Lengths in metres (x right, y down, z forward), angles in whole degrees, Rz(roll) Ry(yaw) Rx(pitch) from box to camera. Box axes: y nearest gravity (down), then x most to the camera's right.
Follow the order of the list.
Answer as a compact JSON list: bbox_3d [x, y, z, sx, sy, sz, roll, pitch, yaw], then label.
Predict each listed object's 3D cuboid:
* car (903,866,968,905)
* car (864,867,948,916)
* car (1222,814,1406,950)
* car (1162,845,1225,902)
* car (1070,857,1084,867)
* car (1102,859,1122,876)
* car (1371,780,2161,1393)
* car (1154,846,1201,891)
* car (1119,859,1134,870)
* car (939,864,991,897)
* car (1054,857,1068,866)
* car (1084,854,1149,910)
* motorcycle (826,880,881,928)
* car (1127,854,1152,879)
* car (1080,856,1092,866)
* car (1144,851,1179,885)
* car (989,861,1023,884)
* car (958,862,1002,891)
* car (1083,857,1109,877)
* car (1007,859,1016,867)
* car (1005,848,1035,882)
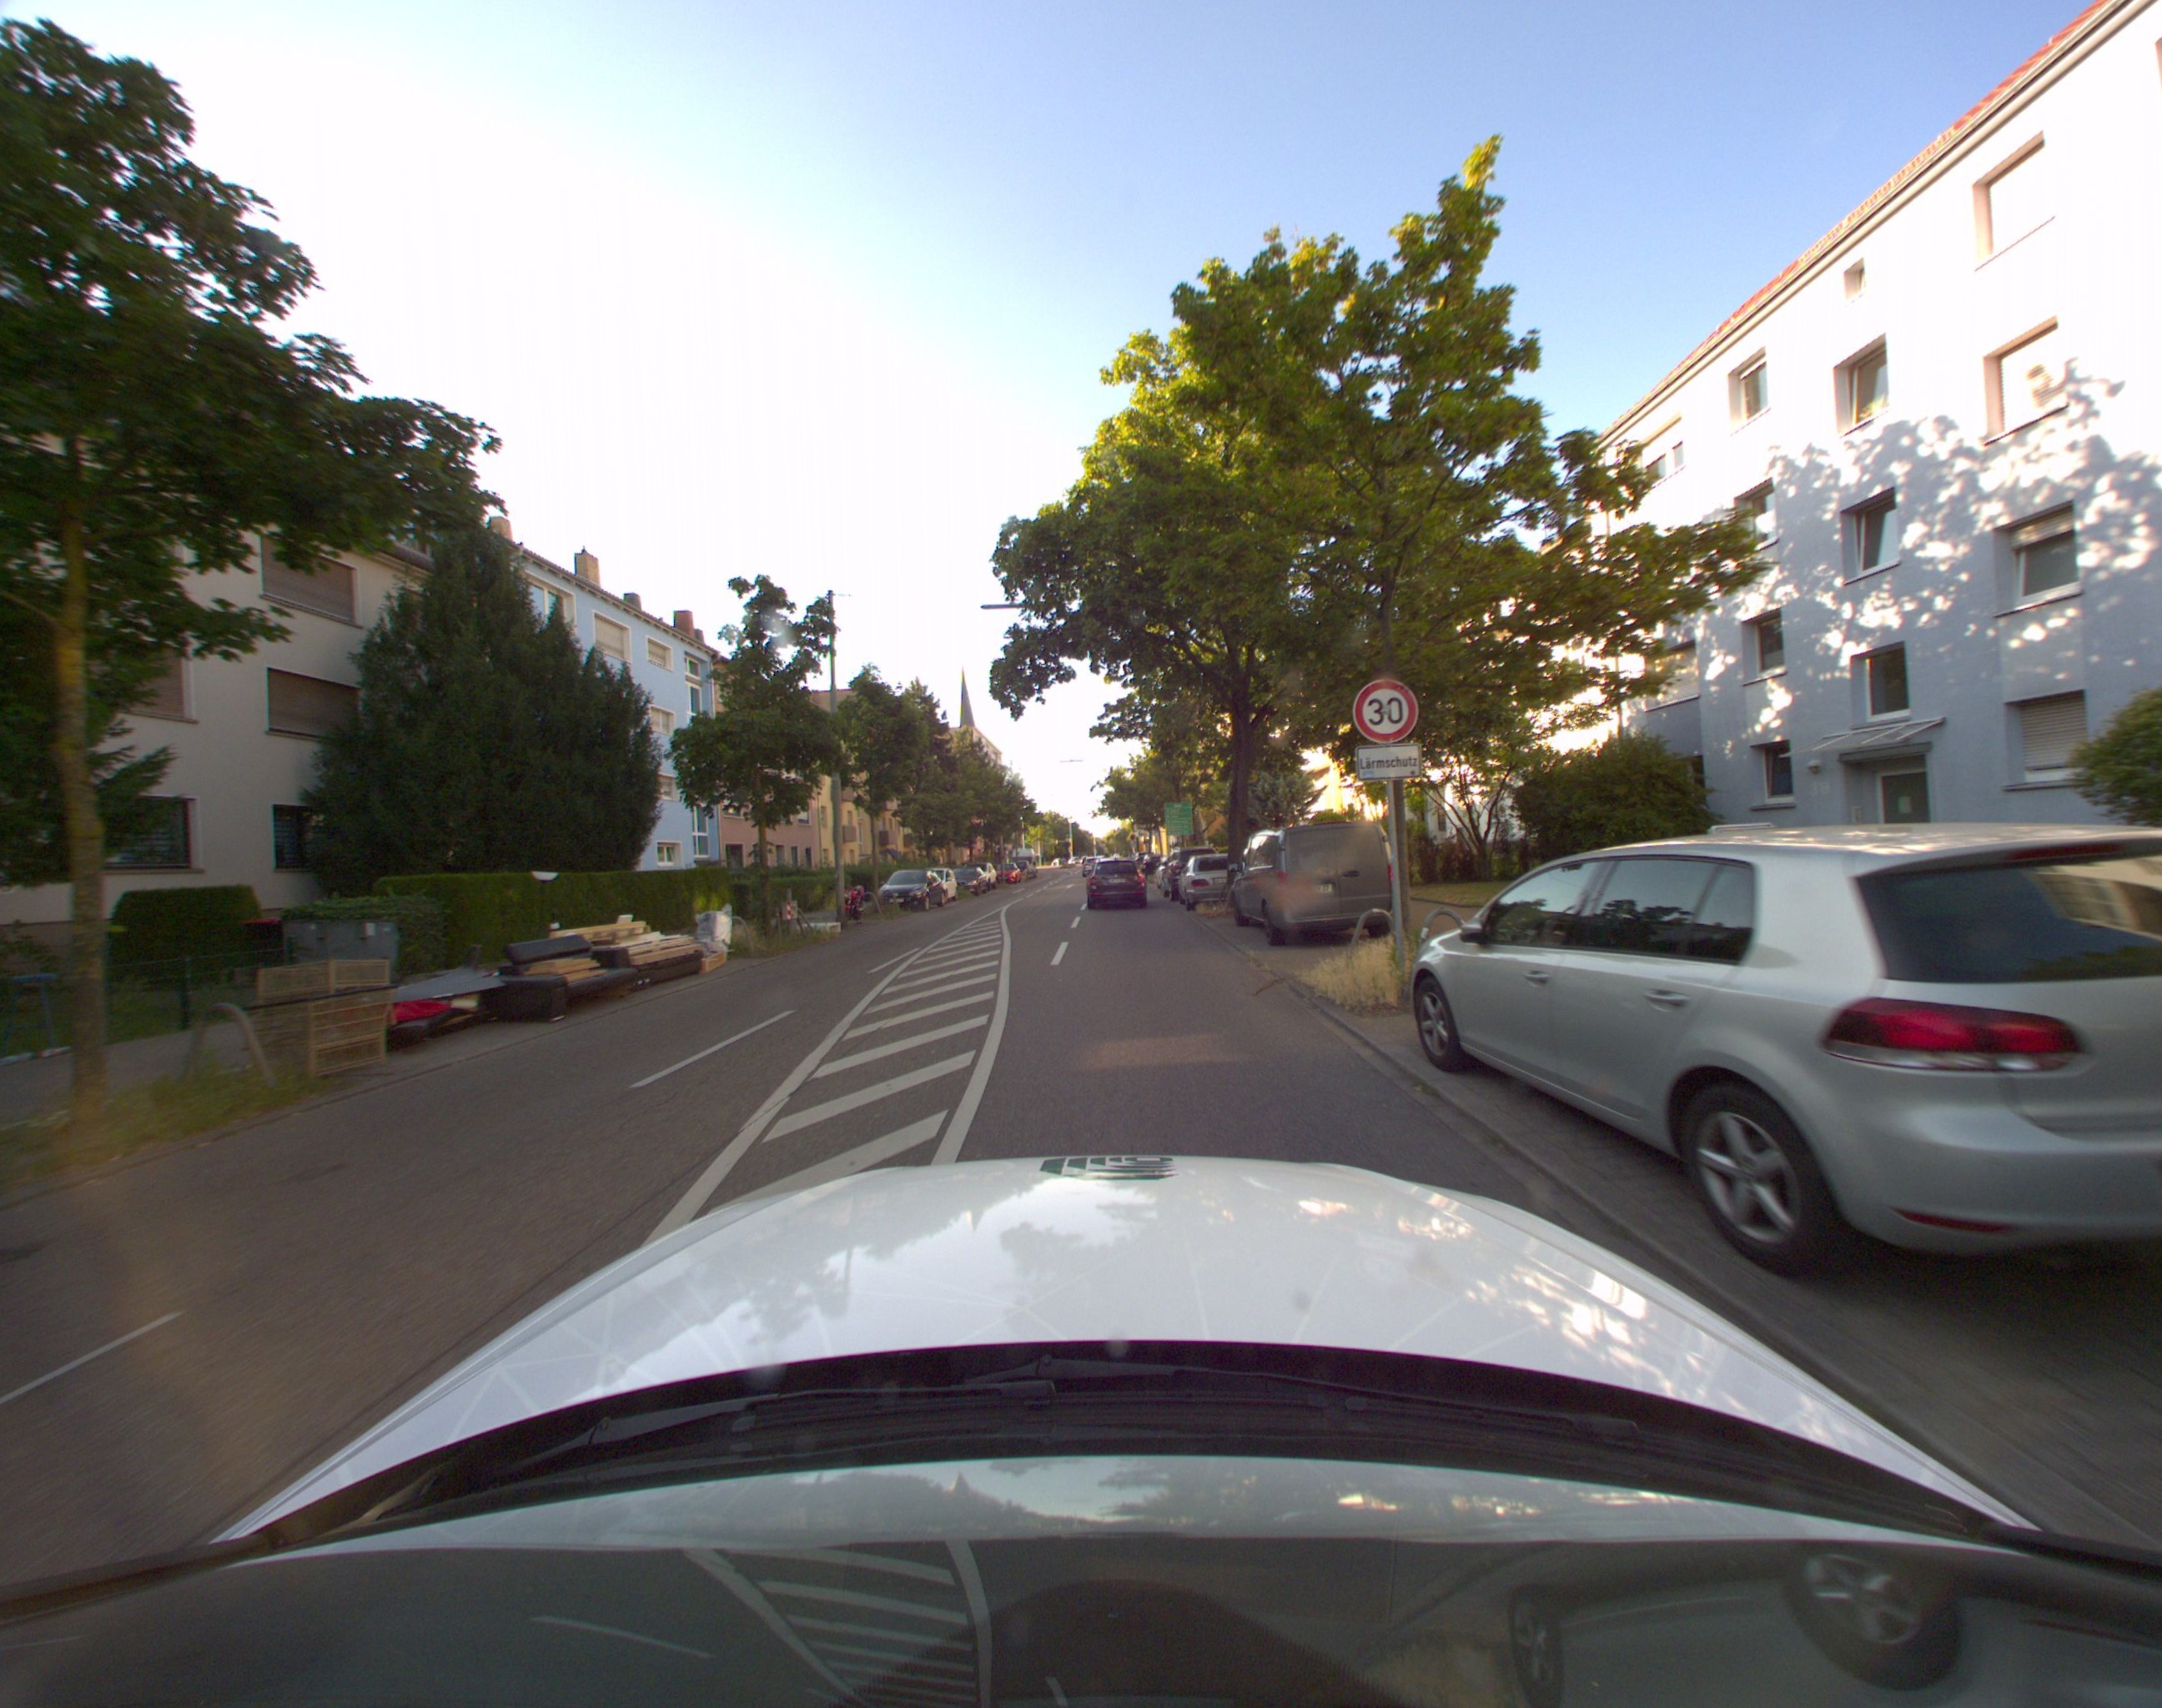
[{"bbox_3d":[-6.146,1.308,34.946,1.773,1.480,3.975,-2,0,4],"label":"car"},{"bbox_3d":[-6.106,1.272,28.891,1.773,1.480,4.037,-2,0,4],"label":"car"},{"bbox_3d":[3.852,0.410,14.593,1.908,1.860,5.638,-3,0,3],"label":"car"},{"bbox_3d":[3.684,0.600,27.166,1.747,1.715,4.004,-2,0,3],"label":"car"},{"bbox_3d":[-0.901,1.668,166.013,1.995,1.750,3.984,-3,0,-12],"label":"car"},{"bbox_3d":[3.416,1.456,89.334,1.986,1.750,4.002,-3,0,2],"label":"car"},{"bbox_3d":[3.087,0.601,4.165,1.748,1.557,4.104,-2,-1,0],"label":"car"},{"bbox_3d":[4.133,0.594,35.223,1.747,1.806,4.004,-2,0,3],"label":"car"},{"bbox_3d":[6.695,1.549,120.101,1.641,1.599,3.645,-3,0,-3],"label":"car"},{"bbox_3d":[-5.827,1.307,41.383,1.773,1.480,3.975,-2,0,4],"label":"car"},{"bbox_3d":[-4.398,1.660,177.693,1.998,1.750,3.978,-3,0,-16],"label":"car"},{"bbox_3d":[1.098,0.789,24.539,1.747,1.492,4.004,-2,0,3],"label":"car"},{"bbox_3d":[-6.360,1.368,22.903,0.736,1.204,2.144,-2,0,5],"label":"motorcycle"},{"bbox_3d":[4.512,0.967,63.411,1.747,1.806,4.002,-2,0,2],"label":"car"},{"bbox_3d":[0.917,1.335,157.101,1.989,1.750,3.995,-3,0,-3],"label":"car"},{"bbox_3d":[4.547,0.740,46.464,1.747,1.806,4.004,-2,0,3],"label":"car"},{"bbox_3d":[-5.256,1.278,57.551,1.773,1.480,3.975,-2,0,4],"label":"car"},{"bbox_3d":[-5.783,1.277,47.084,1.773,1.480,3.975,-2,0,4],"label":"car"},{"bbox_3d":[1.178,1.023,62.356,1.885,1.506,3.790,0,-1,1],"label":"car"},{"bbox_3d":[-16.895,2.180,197.817,1.991,1.750,3.992,-3,0,-6],"label":"car"},{"bbox_3d":[-5.192,0.909,70.125,1.984,2.781,5.505,-2,0,1],"label":"car"}]
